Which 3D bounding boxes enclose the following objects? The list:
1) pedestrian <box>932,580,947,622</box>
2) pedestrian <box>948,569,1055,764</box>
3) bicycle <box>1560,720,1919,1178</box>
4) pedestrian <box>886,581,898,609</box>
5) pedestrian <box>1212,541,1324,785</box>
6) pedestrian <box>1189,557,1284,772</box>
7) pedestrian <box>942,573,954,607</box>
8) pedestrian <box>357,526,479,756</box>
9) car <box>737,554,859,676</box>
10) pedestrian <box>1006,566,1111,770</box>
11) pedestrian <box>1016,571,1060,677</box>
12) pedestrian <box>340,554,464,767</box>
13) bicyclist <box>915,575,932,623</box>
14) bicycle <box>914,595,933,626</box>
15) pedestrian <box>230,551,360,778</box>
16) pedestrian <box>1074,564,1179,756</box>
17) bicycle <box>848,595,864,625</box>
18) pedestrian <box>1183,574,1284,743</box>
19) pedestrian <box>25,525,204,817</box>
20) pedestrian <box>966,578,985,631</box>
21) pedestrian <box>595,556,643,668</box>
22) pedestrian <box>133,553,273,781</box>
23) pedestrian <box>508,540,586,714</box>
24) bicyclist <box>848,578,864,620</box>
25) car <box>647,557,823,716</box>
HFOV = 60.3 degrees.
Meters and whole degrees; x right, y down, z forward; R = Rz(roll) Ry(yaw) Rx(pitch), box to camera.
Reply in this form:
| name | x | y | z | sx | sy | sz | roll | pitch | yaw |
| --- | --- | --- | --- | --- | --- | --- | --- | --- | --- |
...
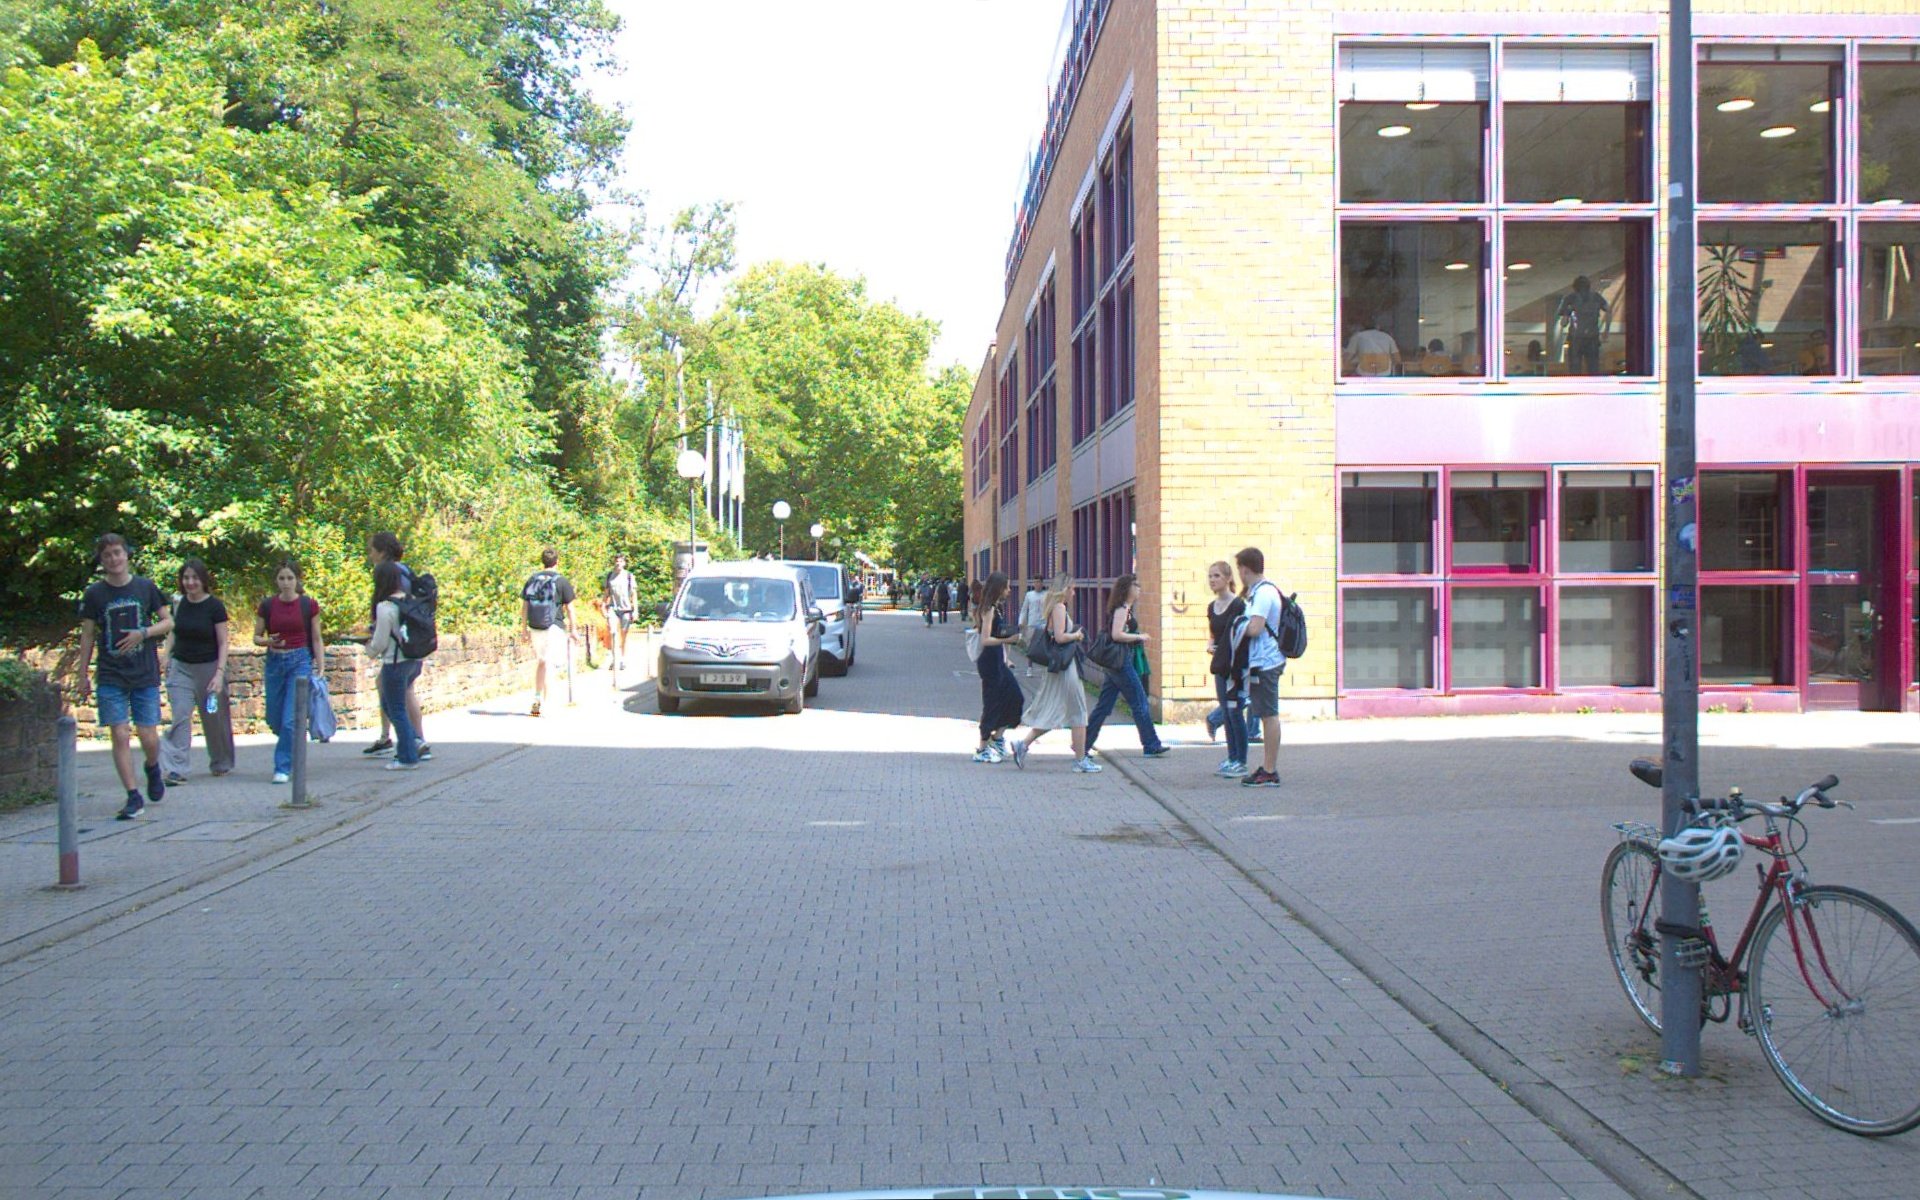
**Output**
| name | x | y | z | sx | sy | sz | roll | pitch | yaw |
| --- | --- | --- | --- | --- | --- | --- | --- | --- | --- |
| pedestrian | -0.827 | 0.056 | 67.993 | 0.574 | 1.702 | 0.817 | -1 | -1 | -1 |
| pedestrian | 0.387 | 0.590 | 15.009 | 0.867 | 1.701 | 0.644 | -2 | 1 | 5 |
| bicycle | 2.407 | 0.935 | 5.005 | 0.441 | 0.978 | 1.739 | -3 | 0 | -2 |
| pedestrian | -4.298 | -0.305 | 104.668 | 0.710 | 1.702 | 0.748 | -1 | -1 | -1 |
| pedestrian | 2.372 | 0.482 | 12.801 | 0.750 | 1.826 | 0.588 | -2 | -1 | 5 |
| pedestrian | 2.250 | 0.521 | 13.528 | 0.682 | 1.702 | 0.588 | -2 | -1 | 5 |
| pedestrian | -0.668 | -0.569 | 94.667 | 0.640 | 1.956 | 0.817 | -1 | -1 | -1 |
| pedestrian | -4.530 | 0.338 | 13.869 | 0.809 | 1.876 | 0.684 | 0 | -1 | -4 |
| car | -2.834 | 0.219 | 29.929 | 1.845 | 2.008 | 5.213 | 0 | 1 | -2 |
| pedestrian | 0.855 | 0.570 | 14.196 | 0.867 | 1.702 | 0.559 | 0 | -1 | 5 |
| pedestrian | 1.327 | 0.411 | 28.222 | 0.669 | 1.778 | 0.783 | 0 | -1 | -2 |
| pedestrian | -4.422 | 0.472 | 13.147 | 0.765 | 1.649 | 0.684 | 0 | -1 | -4 |
| bicyclist | -1.333 | -0.041 | 60.011 | 0.575 | 1.746 | 0.665 | 0 | 0 | -5 |
| bicycle | -1.330 | 0.374 | 59.999 | 0.575 | 1.102 | 1.906 | 0 | 0 | -5 |
| pedestrian | -5.013 | 0.473 | 12.520 | 0.669 | 1.649 | 0.912 | 0 | -1 | -7 |
| pedestrian | 1.517 | 0.544 | 15.078 | 0.909 | 1.702 | 0.588 | -1 | -1 | 5 |
| bicycle | -3.921 | 0.353 | 62.324 | 0.575 | 1.102 | 1.812 | 0 | 0 | -5 |
| pedestrian | 2.641 | 0.553 | 16.037 | 0.867 | 1.569 | 0.743 | -2 | 1 | 5 |
| pedestrian | -5.342 | 0.430 | 10.510 | 0.669 | 1.758 | 1.019 | 0 | -1 | -6 |
| pedestrian | 0.511 | 0.141 | 54.369 | 0.574 | 1.702 | 0.699 | -1 | -1 | -1 |
| pedestrian | -5.775 | 0.202 | 28.035 | 0.669 | 1.876 | 0.783 | 0 | -1 | -2 |
| pedestrian | -5.697 | 0.491 | 12.496 | 0.669 | 1.649 | 0.977 | 0 | -1 | -6 |
| pedestrian | -4.554 | 0.293 | 18.269 | 0.669 | 1.876 | 0.783 | 0 | -1 | -2 |
| bicyclist | -3.908 | -0.042 | 62.287 | 0.575 | 1.600 | 0.828 | 0 | 0 | -5 |
| car | -2.752 | 0.390 | 21.102 | 1.754 | 1.792 | 4.480 | -1 | 1 | -2 |
